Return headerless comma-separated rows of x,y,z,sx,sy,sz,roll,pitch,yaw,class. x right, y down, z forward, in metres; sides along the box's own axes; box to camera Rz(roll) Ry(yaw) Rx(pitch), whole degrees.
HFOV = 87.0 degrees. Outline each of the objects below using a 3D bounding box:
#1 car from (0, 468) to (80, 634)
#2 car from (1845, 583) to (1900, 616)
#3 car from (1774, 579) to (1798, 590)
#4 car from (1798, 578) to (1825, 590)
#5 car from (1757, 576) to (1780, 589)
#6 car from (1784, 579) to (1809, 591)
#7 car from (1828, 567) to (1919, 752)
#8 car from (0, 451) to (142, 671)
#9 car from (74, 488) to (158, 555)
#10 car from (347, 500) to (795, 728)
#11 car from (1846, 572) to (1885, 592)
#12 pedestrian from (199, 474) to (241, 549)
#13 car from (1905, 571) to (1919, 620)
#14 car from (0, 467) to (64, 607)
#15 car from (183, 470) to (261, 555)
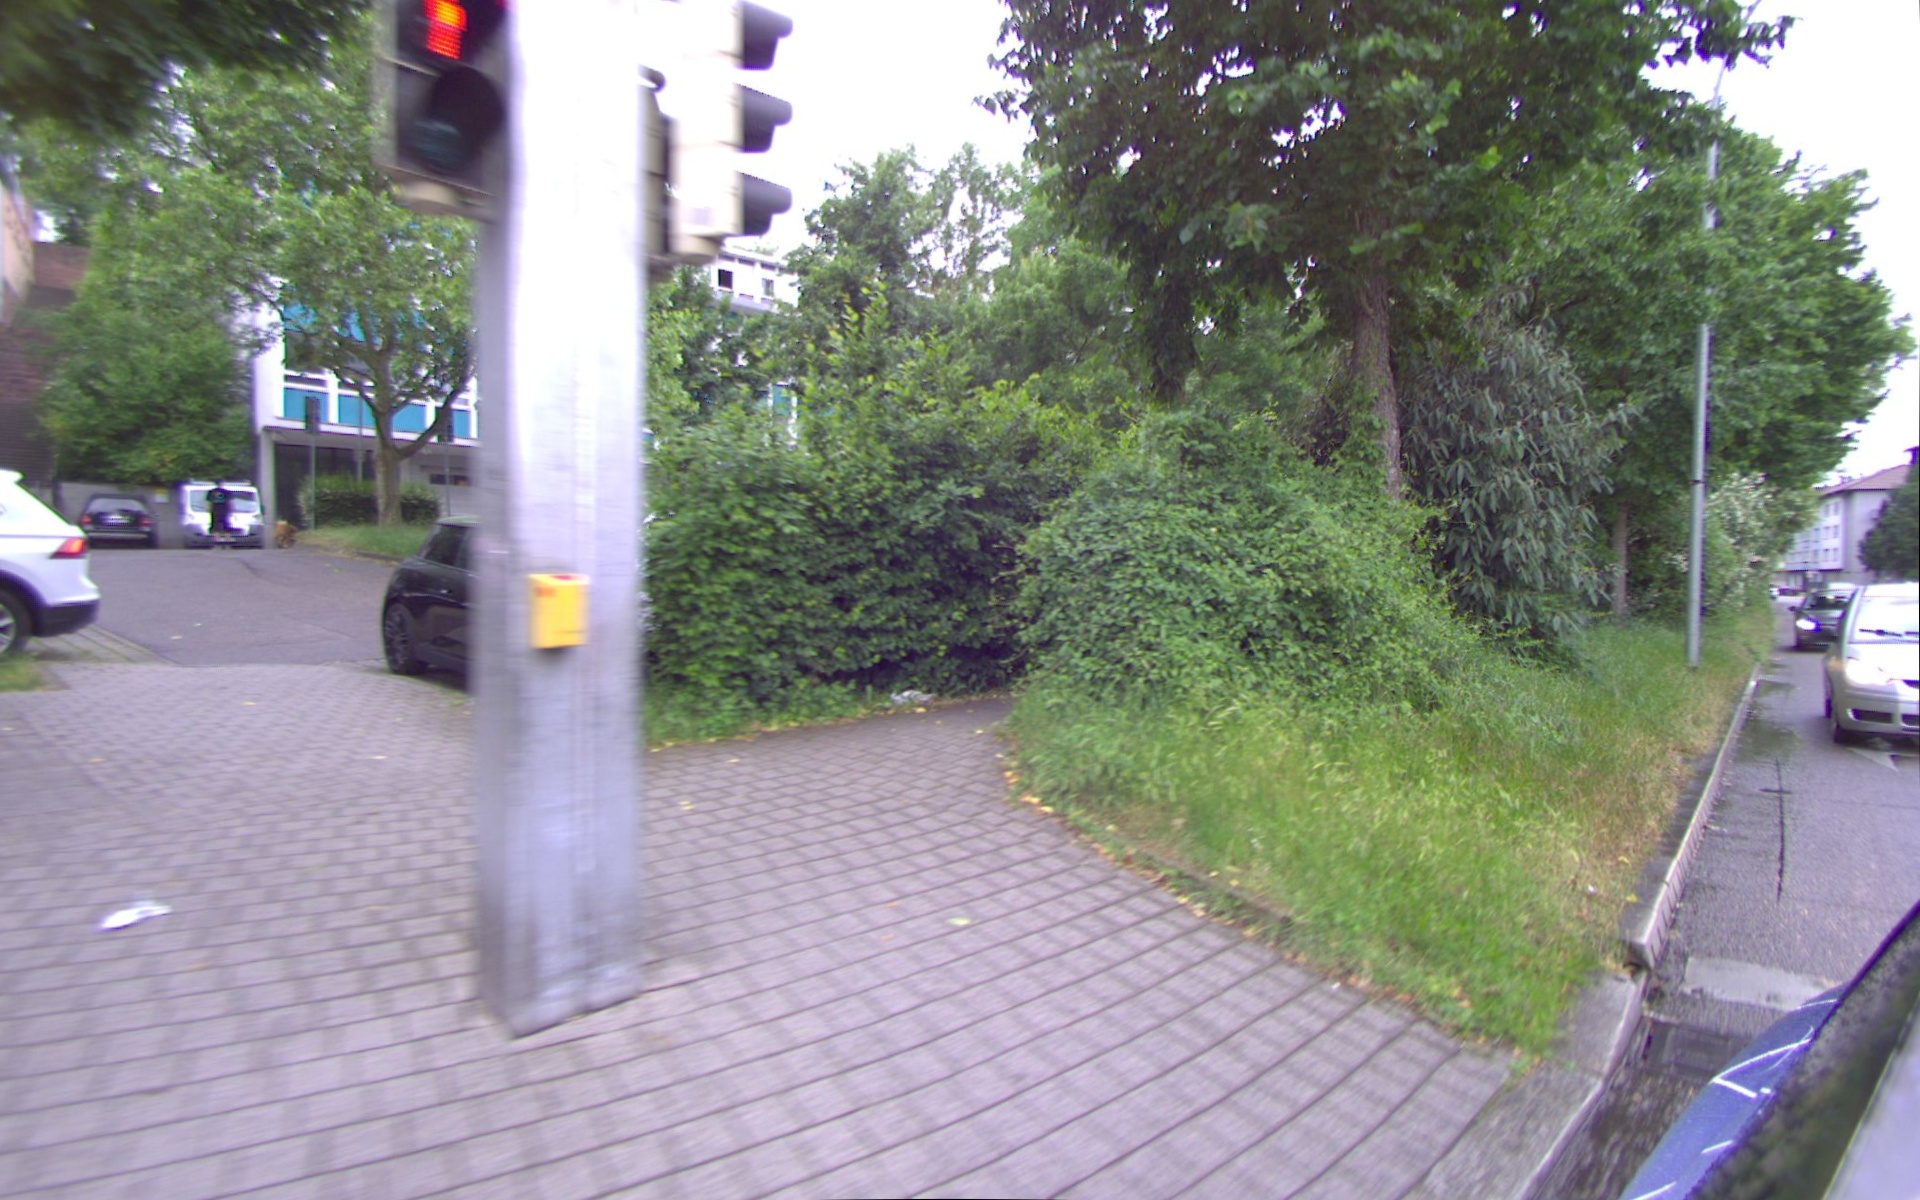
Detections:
-10.885,-0.482,8.632,1.799,1.569,4.849,5,4,35,car
54.058,-0.059,60.026,1.988,1.849,3.949,-2,0,36,car
115.959,-2.212,142.149,1.712,1.499,4.274,3,3,28,car
111.122,-2.098,132.125,1.836,1.564,4.205,-2,1,29,car
122.760,-2.722,153.734,1.888,1.893,4.274,0,1,28,car
113.664,-2.022,137.539,1.712,1.499,4.274,3,3,28,car
9.999,0.468,10.222,1.748,1.616,4.110,-1,1,39,car
-8.893,-0.336,7.131,1.799,1.691,4.578,6,5,35,car
-26.540,-2.392,31.934,1.850,1.753,4.721,-2,0,-38,car
-3.496,-0.087,8.753,4.183,1.448,1.785,6,7,39,car
84.676,-1.716,94.685,1.986,1.771,4.751,1,1,33,car
-17.160,-2.033,23.474,0.717,1.627,0.716,1,-2,-42,pedestrian
33.214,-0.176,34.127,1.729,1.619,3.943,1,2,40,car
-12.576,-0.725,10.361,1.799,1.569,4.849,5,4,35,car
-24.226,-2.767,33.136,1.850,2.333,4.721,-2,0,-38,car
